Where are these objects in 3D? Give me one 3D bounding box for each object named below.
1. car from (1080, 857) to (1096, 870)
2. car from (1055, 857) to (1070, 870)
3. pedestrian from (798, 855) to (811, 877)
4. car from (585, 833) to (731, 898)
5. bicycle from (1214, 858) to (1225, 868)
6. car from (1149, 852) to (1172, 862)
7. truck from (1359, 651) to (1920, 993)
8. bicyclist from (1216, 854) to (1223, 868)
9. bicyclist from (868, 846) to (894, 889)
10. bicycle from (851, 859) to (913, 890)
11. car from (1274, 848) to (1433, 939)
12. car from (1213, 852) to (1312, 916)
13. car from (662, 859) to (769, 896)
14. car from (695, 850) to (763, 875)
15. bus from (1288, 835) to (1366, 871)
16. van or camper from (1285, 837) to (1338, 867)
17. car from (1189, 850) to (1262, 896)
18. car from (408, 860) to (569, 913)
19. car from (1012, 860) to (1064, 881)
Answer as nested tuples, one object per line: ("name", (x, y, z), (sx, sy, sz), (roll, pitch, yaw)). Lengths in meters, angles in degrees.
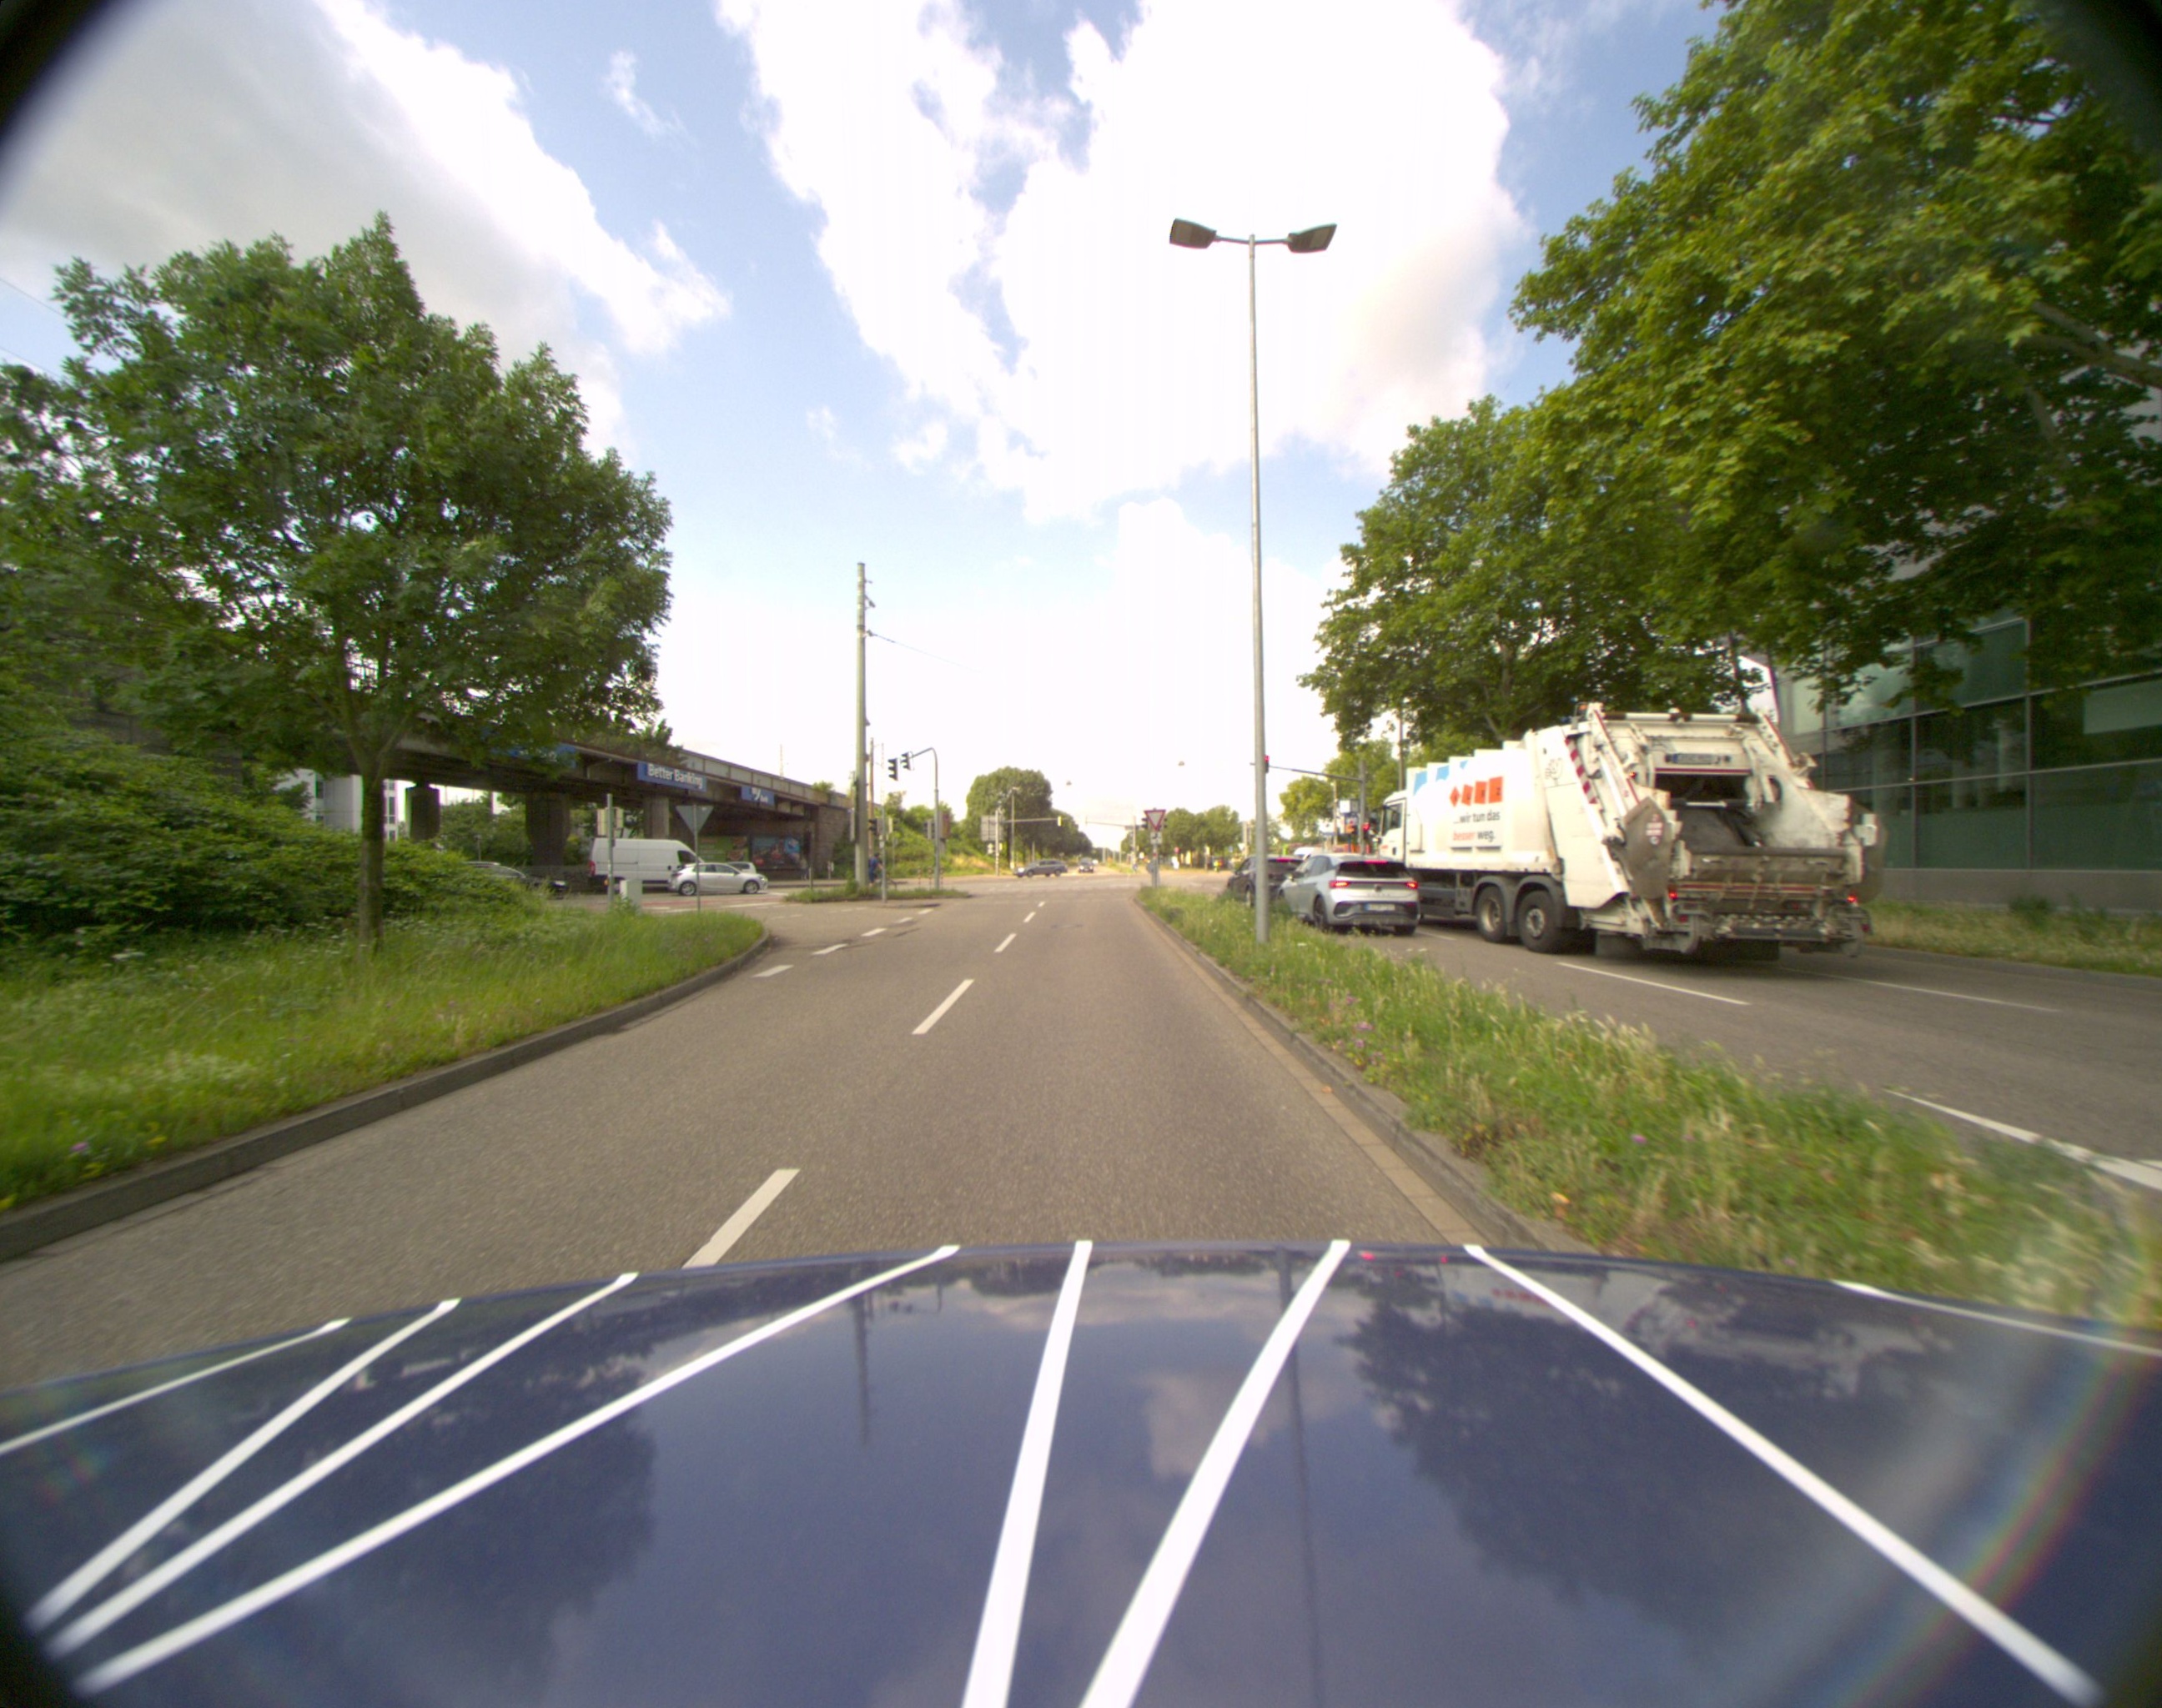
("car", (0.829, 1.067, 88.065), (1.820, 1.477, 4.000), (-1, 0, 1))
("car", (-2.244, 1.122, 92.954), (1.716, 1.477, 4.000), (-1, 0, 1))
("pedestrian", (-21.475, 0.951, 59.030), (0.690, 1.642, 0.610), (0, 4, 20))
("car", (-19.539, 0.439, 35.207), (5.635, 2.514, 2.258), (-4, 6, -34))
("bicycle", (18.080, 1.182, 99.265), (0.677, 1.190, 2.231), (-5, 3, -6))
("car", (13.084, 0.514, 124.749), (1.745, 1.470, 3.807), (1, 0, 43))
("truck", (8.248, -0.376, 13.790), (2.656, 3.865, 10.159), (1, 0, 0))
("bicyclist", (18.061, 0.929, 99.109), (0.677, 1.670, 0.836), (-5, 3, -7))
("bicyclist", (-8.226, 0.523, 31.185), (0.825, 1.670, 0.843), (-3, 5, -27))
("bicycle", (-8.157, 0.838, 31.220), (2.321, 1.088, 0.843), (-3, 5, -27))
("car", (5.365, 0.685, 15.593), (1.749, 1.544, 4.233), (2, 1, 1))
("car", (4.996, 0.746, 21.480), (1.712, 1.578, 4.361), (-1, 1, -1))
("car", (-16.055, 0.995, 33.461), (4.007, 1.468, 1.703), (-1, 2, -36))
("car", (-22.146, 0.535, 47.796), (3.609, 1.477, 1.733), (0, -1, -37))
("bus", (28.403, -0.226, 87.376), (10.410, 3.448, 2.738), (-4, 5, -35))
("van or camper", (24.436, -0.217, 80.583), (5.975, 2.771, 2.158), (-4, 5, -36))
("car", (5.323, 0.679, 28.543), (1.869, 1.564, 4.568), (-1, 0, 0))
("car", (-22.668, 1.173, 29.254), (4.671, 1.575, 1.765), (-5, 4, -39))
("car", (-3.601, 1.372, 64.573), (4.006, 1.456, 1.768), (-4, 2, -35))
